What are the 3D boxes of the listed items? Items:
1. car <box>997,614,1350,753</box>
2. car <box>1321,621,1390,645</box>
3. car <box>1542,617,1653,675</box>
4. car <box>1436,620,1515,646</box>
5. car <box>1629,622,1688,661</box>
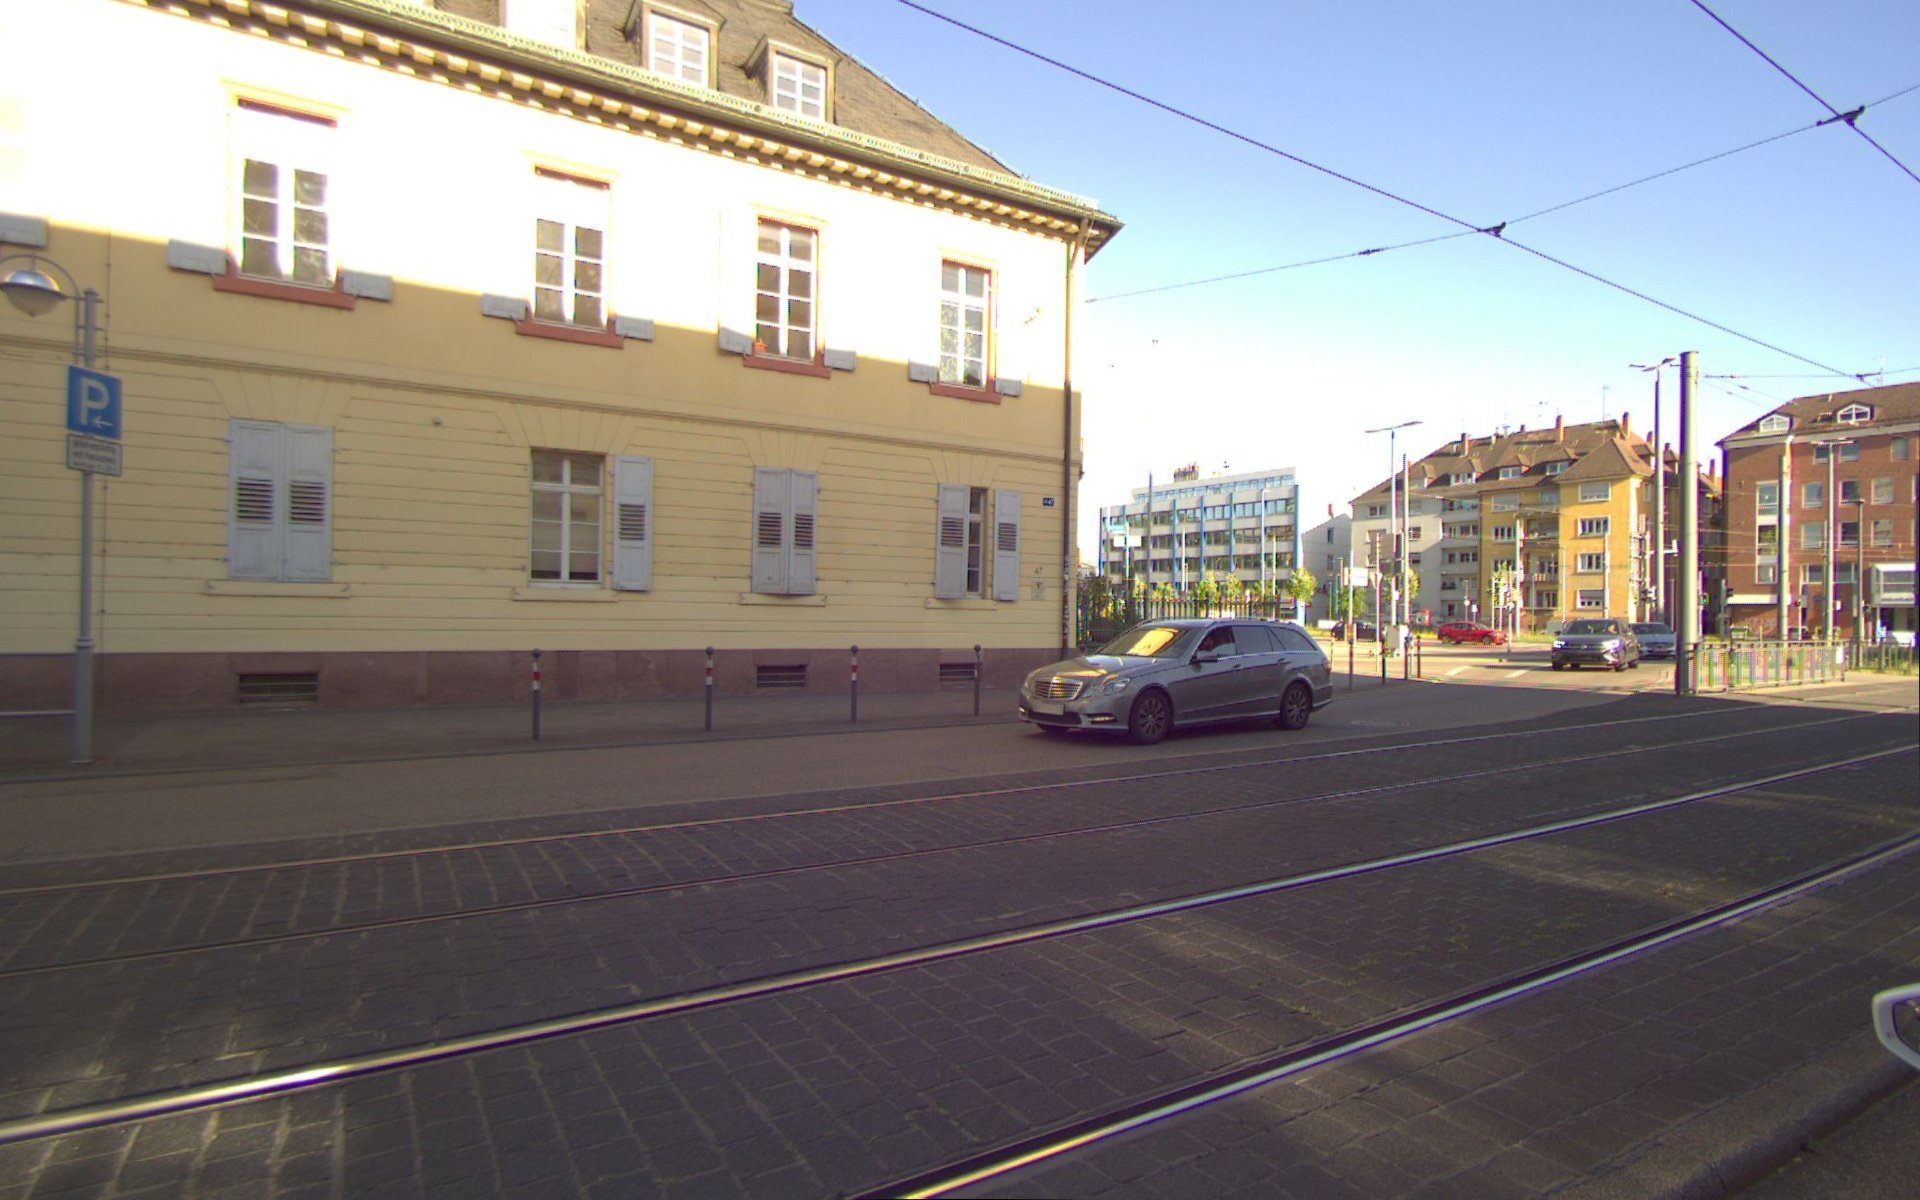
[{"bbox_3d":[2.946,0.984,13.254,4.885,1.515,1.866,2,-2,-38],"label":"car"},{"bbox_3d":[28.222,2.307,71.744,1.922,1.510,4.112,1,0,-39],"label":"car"},{"bbox_3d":[18.380,1.277,28.876,4.251,1.532,1.747,2,-1,-44],"label":"car"},{"bbox_3d":[33.237,2.117,64.818,1.922,1.510,4.112,1,0,-39],"label":"car"},{"bbox_3d":[29.642,1.718,42.561,1.760,1.589,4.273,-1,-1,39],"label":"car"}]
